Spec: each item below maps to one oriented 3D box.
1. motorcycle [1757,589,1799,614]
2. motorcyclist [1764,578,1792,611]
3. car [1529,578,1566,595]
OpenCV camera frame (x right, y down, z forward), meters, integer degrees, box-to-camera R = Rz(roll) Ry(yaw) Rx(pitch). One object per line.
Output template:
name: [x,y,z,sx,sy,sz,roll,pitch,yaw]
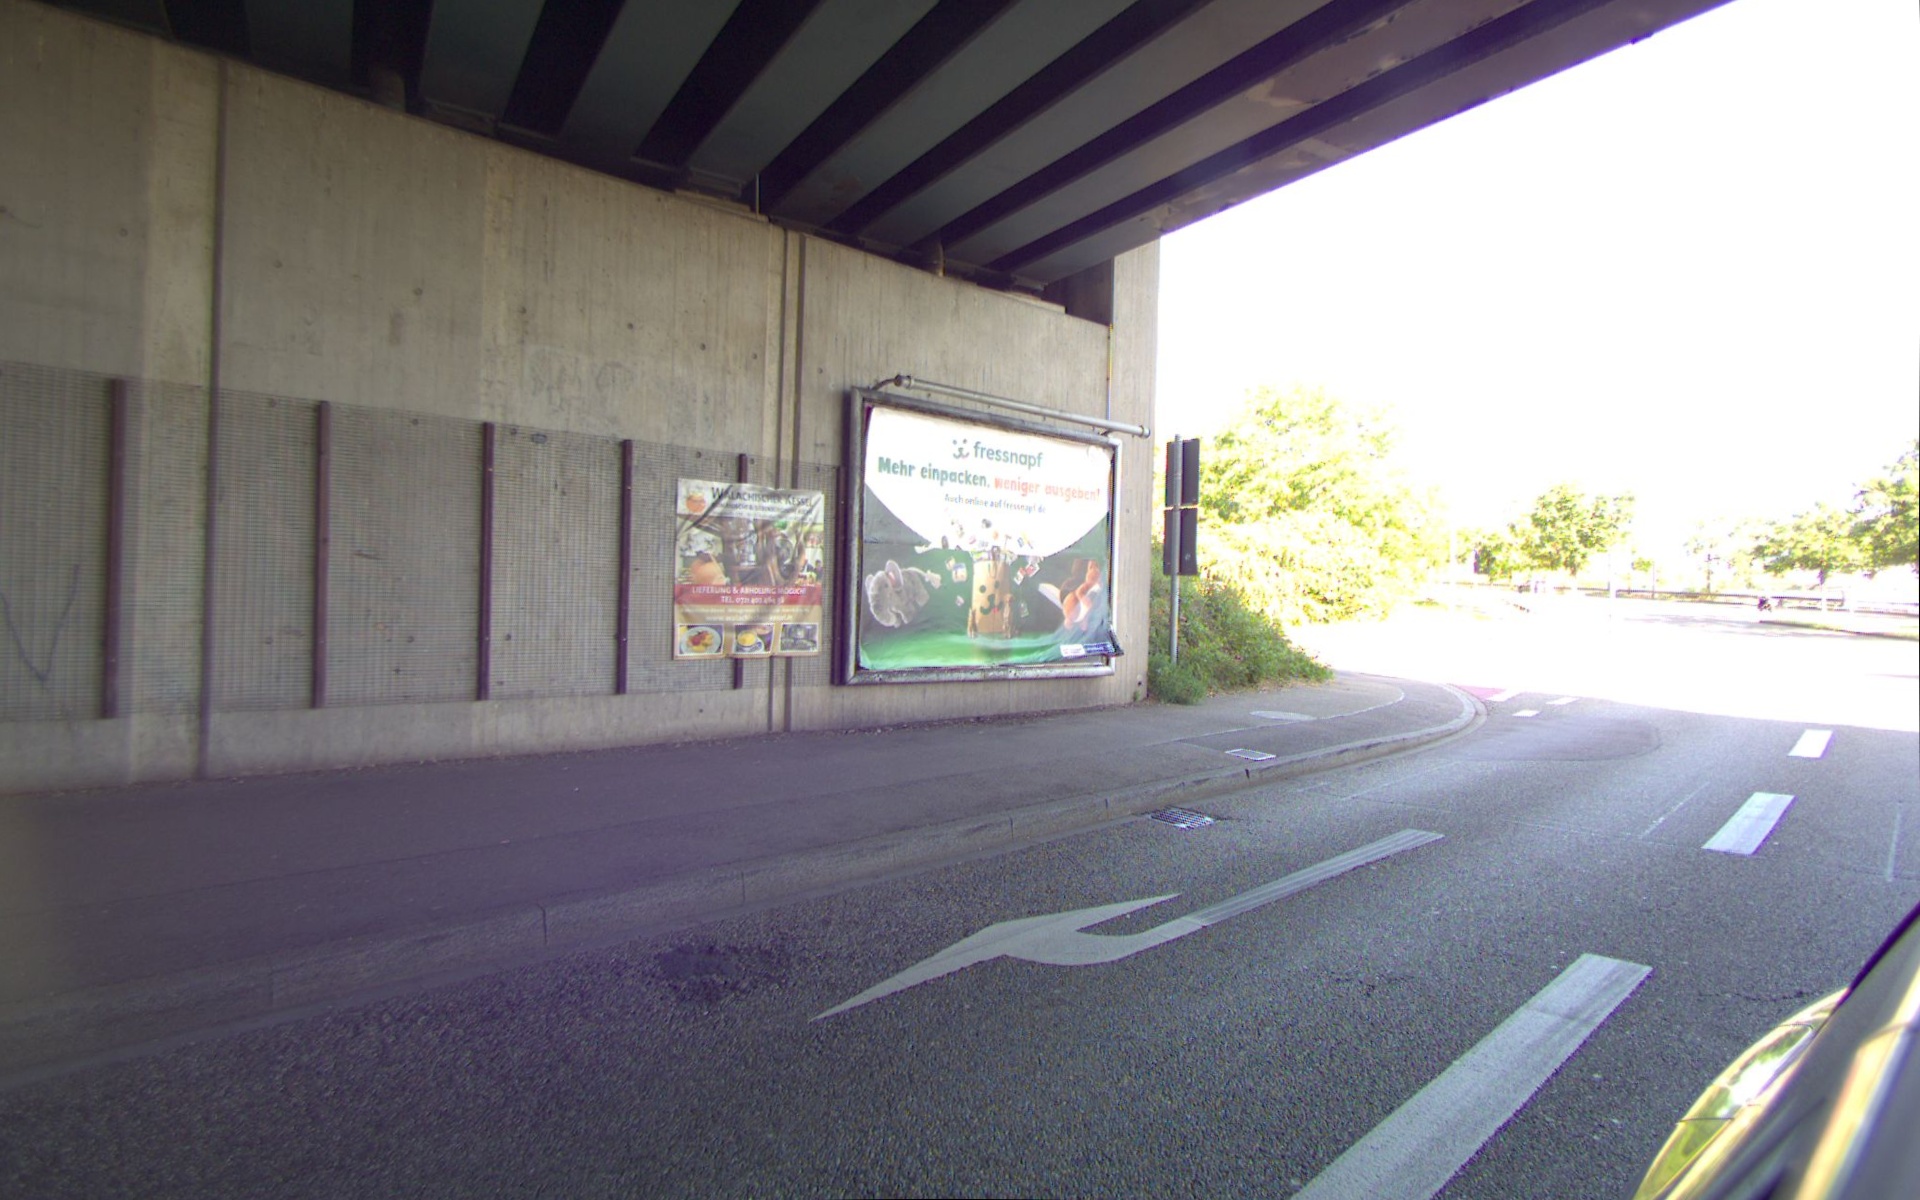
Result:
motorcycle: [57.271,0.098,70.879,1.093,1.681,3.140,0,0,15]
motorcyclist: [57.239,-0.370,70.804,1.093,2.269,1.177,0,0,16]
car: [65.672,-1.524,113.263,1.799,1.759,4.522,3,2,7]
